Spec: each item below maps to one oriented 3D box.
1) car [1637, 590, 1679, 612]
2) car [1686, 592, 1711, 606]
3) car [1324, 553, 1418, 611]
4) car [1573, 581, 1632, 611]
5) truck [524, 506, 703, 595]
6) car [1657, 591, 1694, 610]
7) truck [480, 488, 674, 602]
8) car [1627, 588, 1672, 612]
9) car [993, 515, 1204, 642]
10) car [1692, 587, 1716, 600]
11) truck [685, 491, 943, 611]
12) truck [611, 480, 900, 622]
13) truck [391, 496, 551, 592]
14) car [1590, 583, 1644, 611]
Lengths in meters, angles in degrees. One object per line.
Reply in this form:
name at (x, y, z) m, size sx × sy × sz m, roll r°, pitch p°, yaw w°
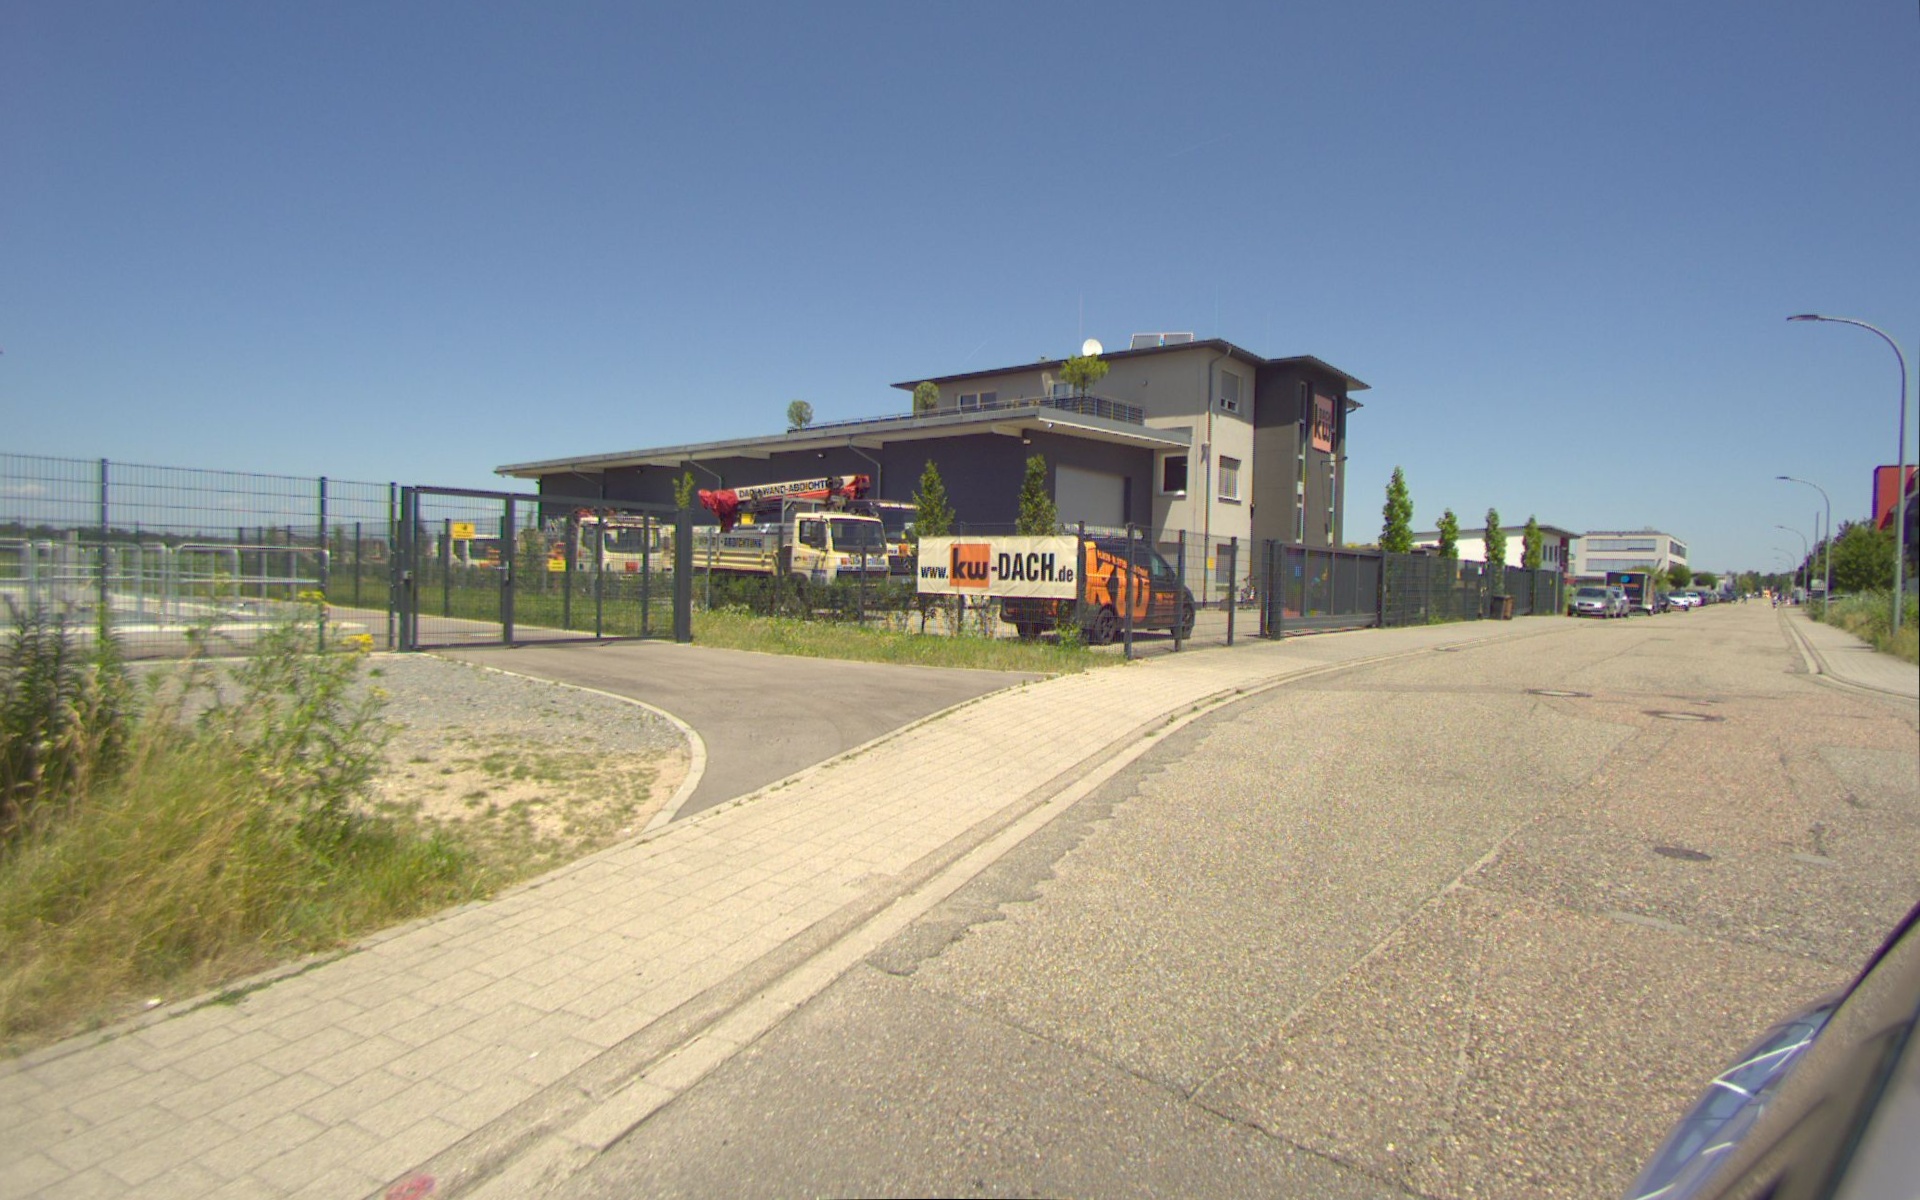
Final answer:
car at (44.822, 0.043, 64.938) m, size 1.822 × 1.292 × 3.829 m, roll 4°, pitch 3°, yaw 40°
car at (76.367, -0.110, 104.639) m, size 1.822 × 1.292 × 3.829 m, roll 4°, pitch 3°, yaw 40°
car at (14.163, -0.636, 34.733) m, size 1.921 × 1.816 × 3.945 m, roll 4°, pitch 3°, yaw 38°
car at (30.556, -0.215, 48.089) m, size 1.822 × 1.292 × 3.829 m, roll 4°, pitch 3°, yaw 40°
truck at (-13.435, -1.897, 38.787) m, size 8.326 × 3.059 × 2.650 m, roll 3°, pitch 2°, yaw 41°
car at (51.684, 0.012, 73.068) m, size 1.822 × 1.292 × 3.829 m, roll 4°, pitch 3°, yaw 40°
truck at (-11.729, -1.641, 30.623) m, size 7.003 × 3.059 × 2.459 m, roll 3°, pitch 2°, yaw 41°
car at (41.857, -0.010, 61.410) m, size 1.822 × 1.292 × 3.829 m, roll 4°, pitch 3°, yaw 40°
car at (2.853, -0.438, 19.925) m, size 1.912 × 2.188 × 4.712 m, roll 3°, pitch 2°, yaw 39°
car at (80.246, -0.749, 109.097) m, size 1.822 × 1.292 × 3.829 m, roll 4°, pitch 3°, yaw 40°
truck at (-4.744, -1.505, 31.138) m, size 8.936 × 3.216 × 2.650 m, roll 3°, pitch 2°, yaw 41°
truck at (-5.416, -1.241, 25.563) m, size 8.326 × 3.059 × 2.587 m, roll 3°, pitch 2°, yaw 41°
truck at (-17.244, -1.923, 35.464) m, size 7.003 × 3.059 × 2.459 m, roll 3°, pitch 2°, yaw 41°
car at (33.613, -0.161, 51.750) m, size 1.822 × 1.292 × 3.829 m, roll 4°, pitch 3°, yaw 40°
